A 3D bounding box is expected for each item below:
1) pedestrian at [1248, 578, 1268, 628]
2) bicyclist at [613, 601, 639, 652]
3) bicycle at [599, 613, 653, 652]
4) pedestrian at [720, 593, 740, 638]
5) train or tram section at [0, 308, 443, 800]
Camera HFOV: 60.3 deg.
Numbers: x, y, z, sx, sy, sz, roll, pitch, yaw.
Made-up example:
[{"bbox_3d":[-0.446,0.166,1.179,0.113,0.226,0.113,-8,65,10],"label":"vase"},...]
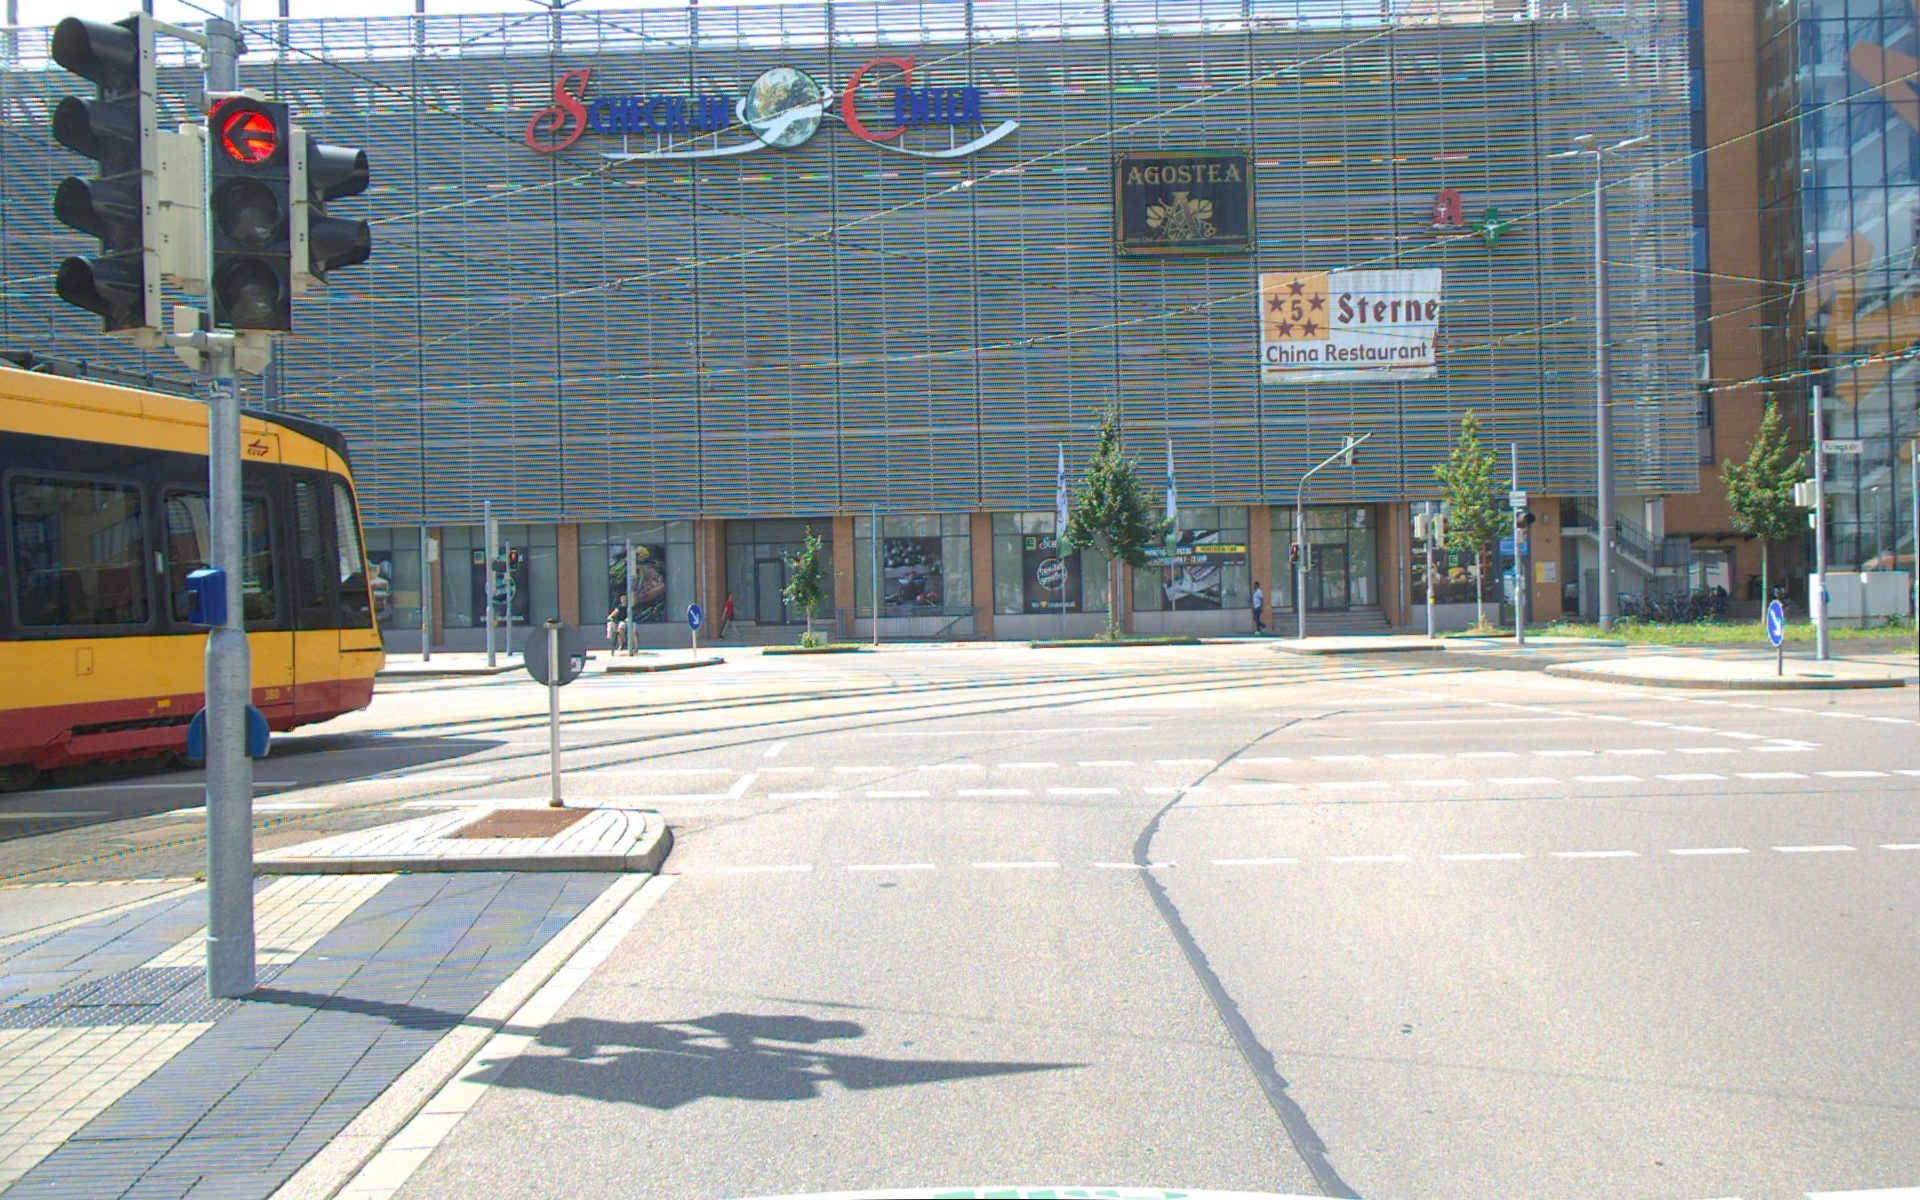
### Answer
[{"bbox_3d":[10.627,0.088,59.035,0.605,1.776,0.629,0,0,1],"label":"pedestrian"},{"bbox_3d":[-10.978,0.855,54.418,0.540,1.652,0.661,0,0,40],"label":"bicyclist"},{"bbox_3d":[-10.985,1.056,54.417,0.573,1.245,1.757,0,0,40],"label":"bicycle"},{"bbox_3d":[-8.399,0.561,60.437,0.648,1.652,0.517,0,0,1],"label":"pedestrian"},{"bbox_3d":[-8.692,-0.298,12.469,2.990,3.684,12.647,-2,0,13],"label":"train or tram section"}]
